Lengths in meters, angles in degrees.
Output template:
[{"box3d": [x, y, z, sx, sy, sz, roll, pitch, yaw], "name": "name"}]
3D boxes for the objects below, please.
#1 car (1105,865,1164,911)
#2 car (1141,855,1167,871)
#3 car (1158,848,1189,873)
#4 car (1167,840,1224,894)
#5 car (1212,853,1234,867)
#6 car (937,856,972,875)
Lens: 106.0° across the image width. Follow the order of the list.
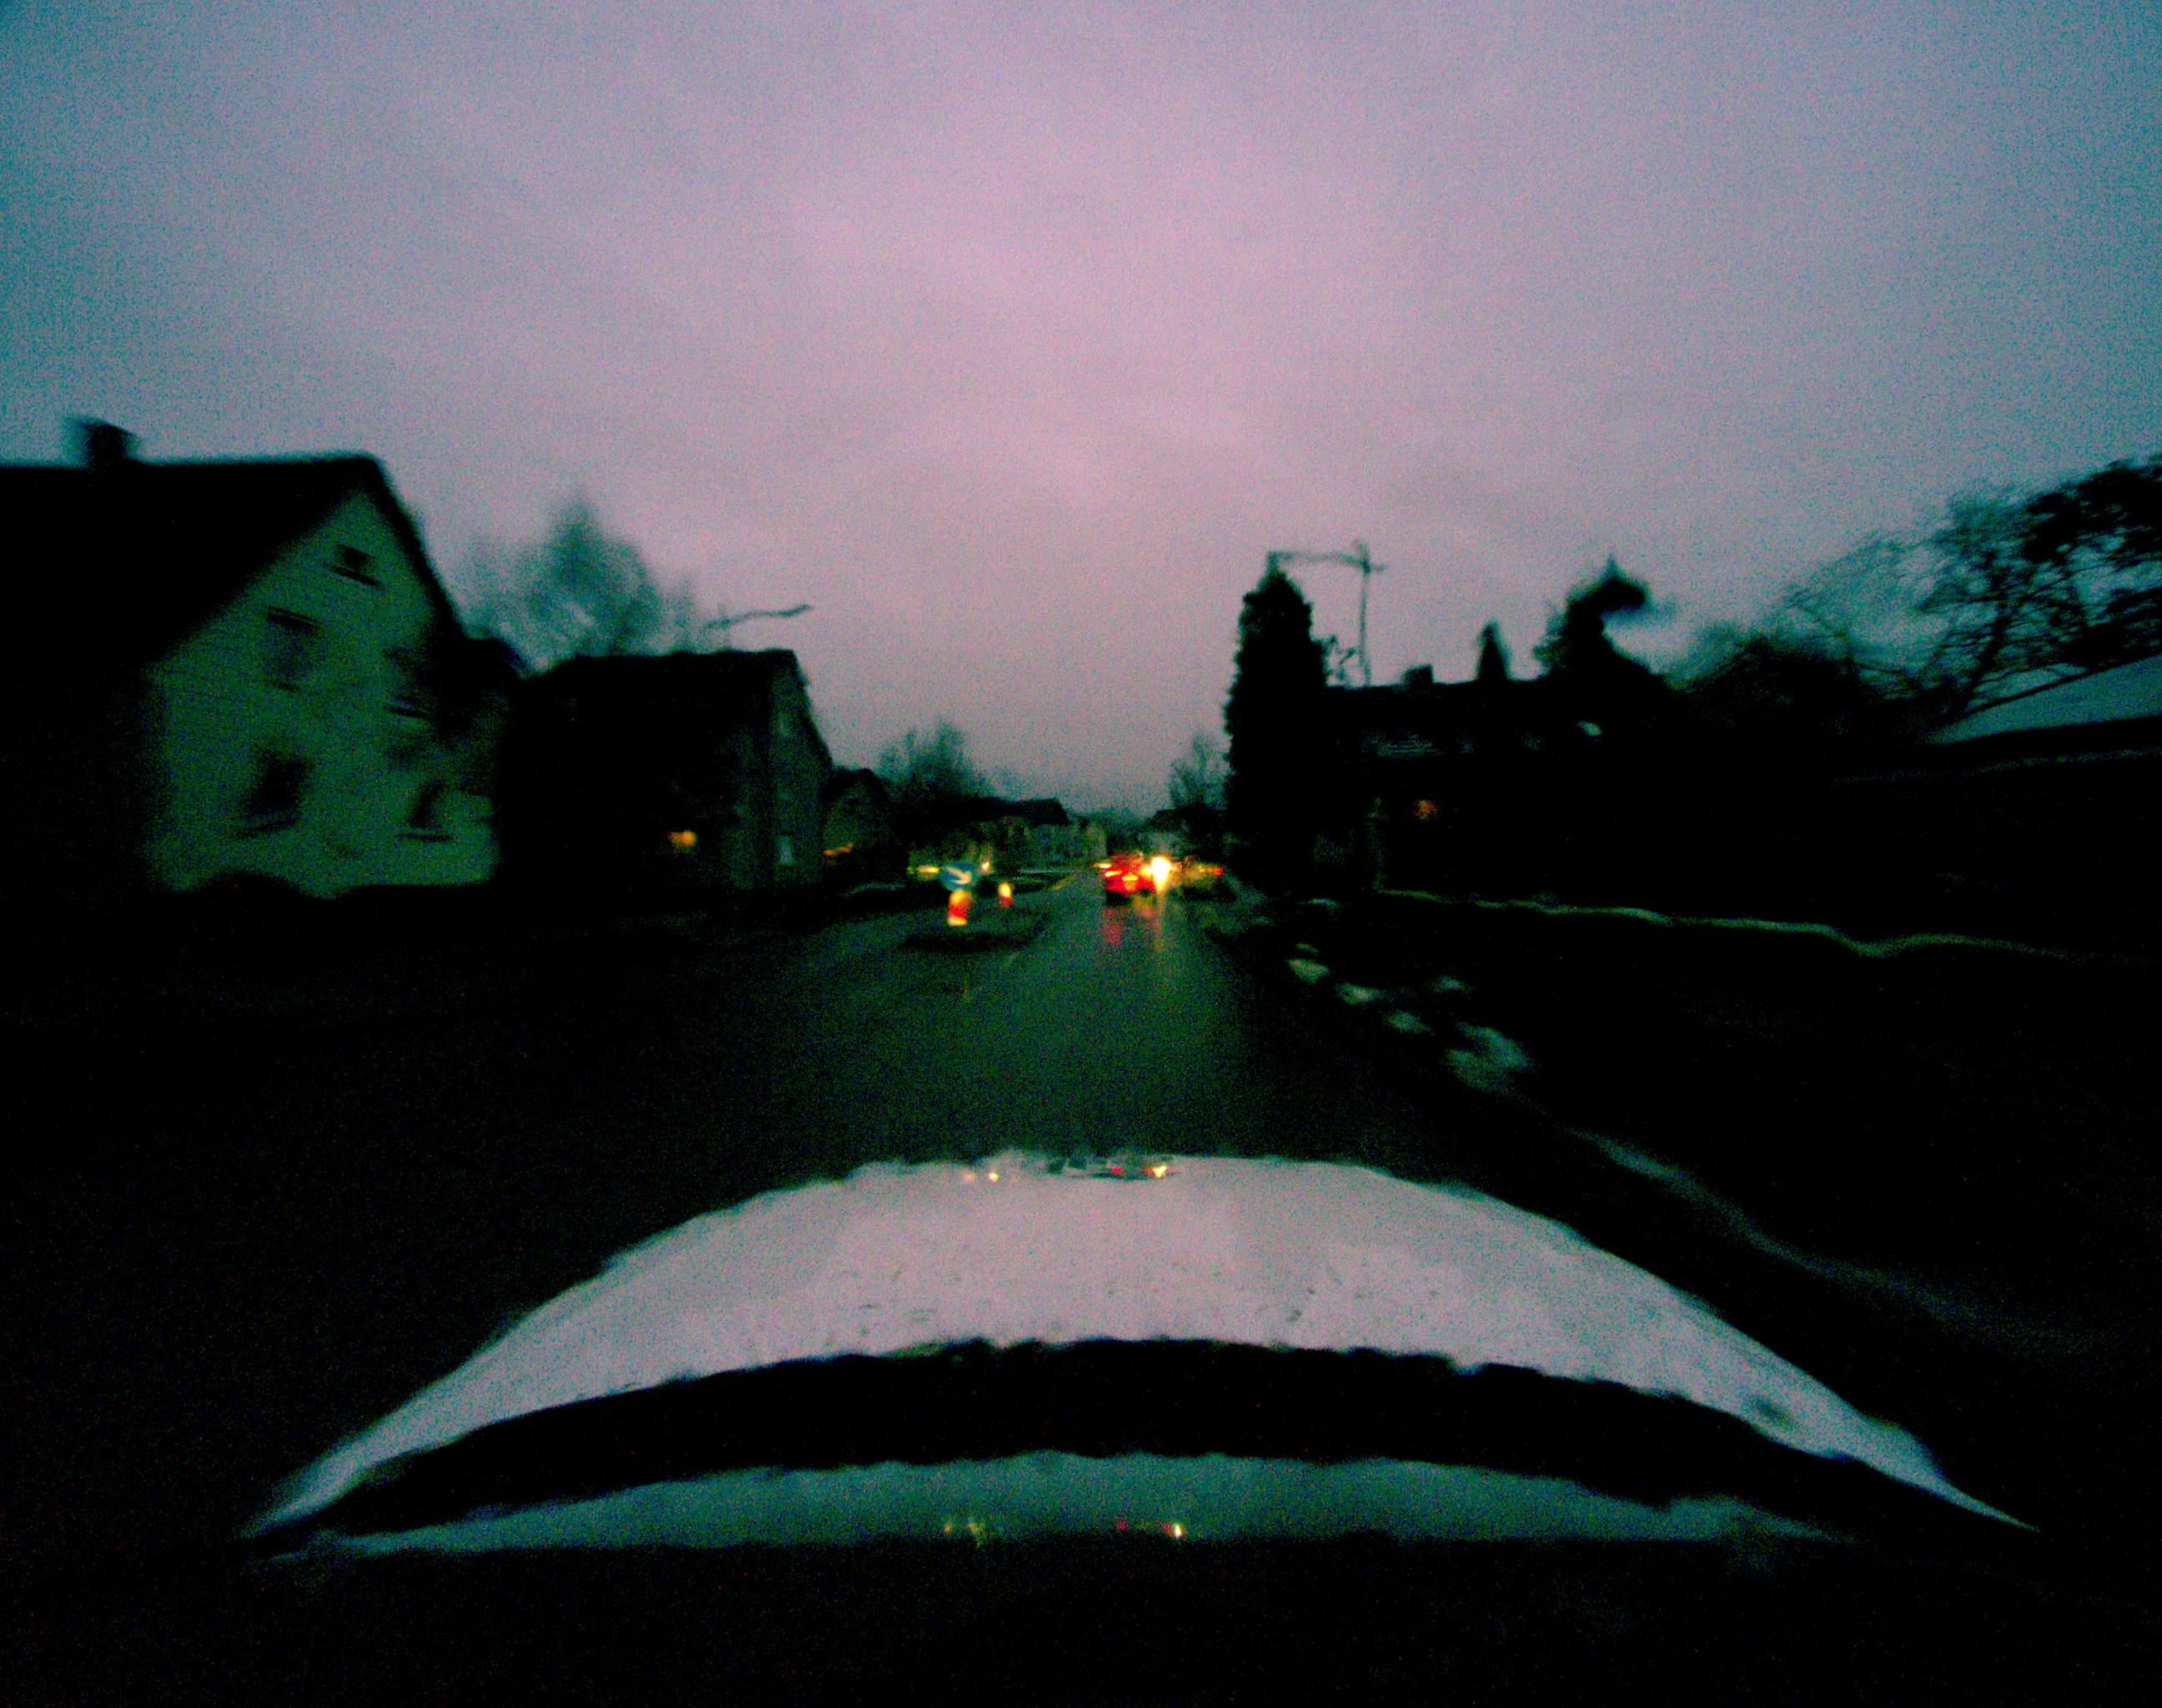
[{"box3d": [1.894, 1.168, 29.639, 1.986, 1.525, 4.001, -1, -1, 2], "name": "car"}, {"box3d": [7.168, 0.845, 79.330, 1.893, 1.488, 4.584, -1, 0, 13], "name": "car"}, {"box3d": [7.864, 0.596, 68.903, 1.978, 2.014, 4.016, -1, -1, 16], "name": "car"}, {"box3d": [4.828, 0.522, 35.057, 1.968, 2.013, 5.752, -3, 0, 5], "name": "car"}, {"box3d": [16.975, 0.706, 97.289, 1.977, 1.670, 4.019, -1, 0, 19], "name": "car"}, {"box3d": [-13.357, 1.190, 86.271, 1.977, 2.013, 4.020, 0, 0, 20], "name": "car"}]
